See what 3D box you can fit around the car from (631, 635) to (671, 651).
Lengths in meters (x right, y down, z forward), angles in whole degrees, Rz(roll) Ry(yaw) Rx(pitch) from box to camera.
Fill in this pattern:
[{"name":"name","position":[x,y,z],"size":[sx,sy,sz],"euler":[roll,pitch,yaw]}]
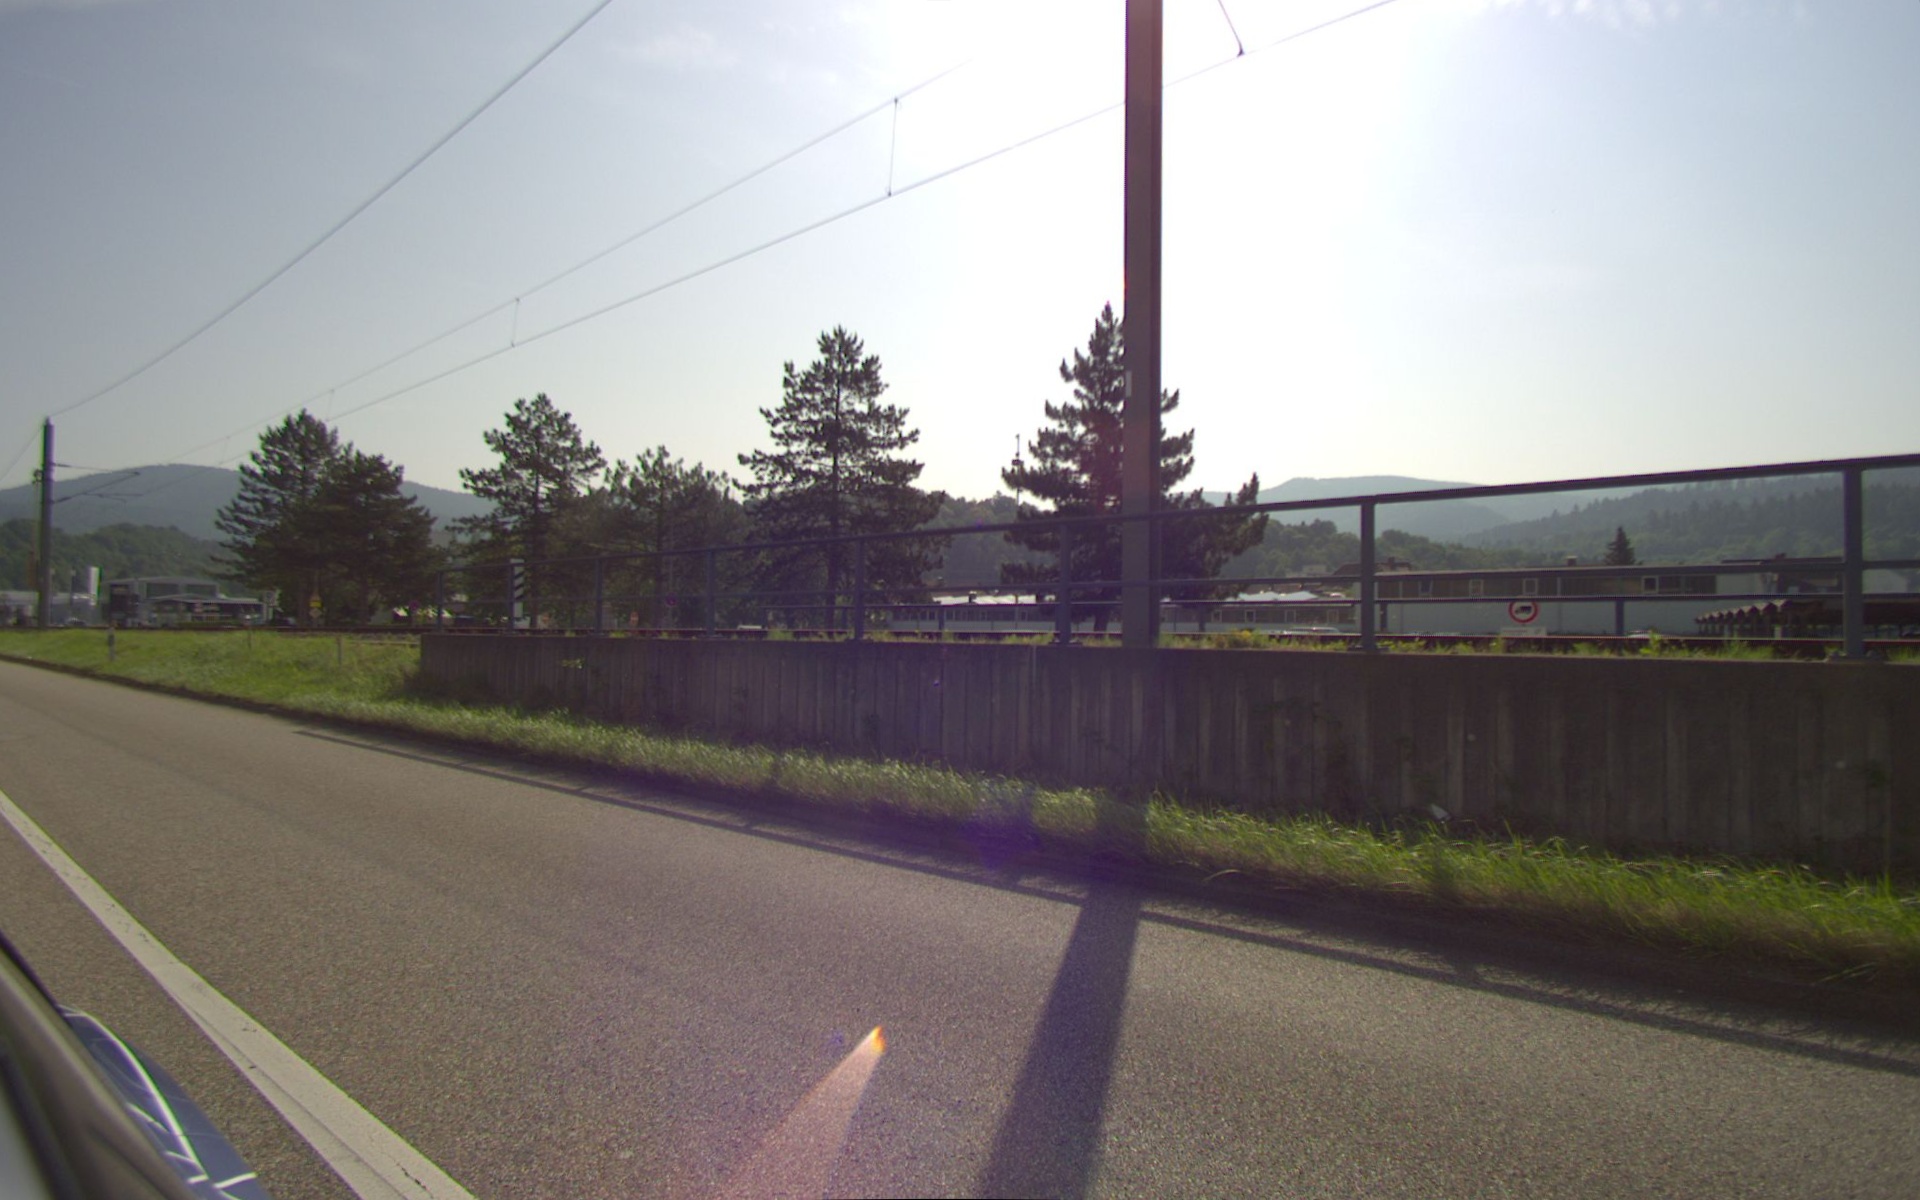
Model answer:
[{"name":"car","position":[-31.622,4.374,103.558],"size":[3.986,1.560,1.666],"euler":[-1,-3,31]}]

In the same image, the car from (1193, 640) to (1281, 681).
[{"name":"car","position":[9.624,2.083,35.406],"size":[1.433,1.335,3.545],"euler":[1,-2,-13]}]

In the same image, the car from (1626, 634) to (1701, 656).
[{"name":"car","position":[43.832,2.781,63.098],"size":[3.492,1.335,1.455],"euler":[0,-2,6]}]

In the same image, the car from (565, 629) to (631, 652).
[{"name":"car","position":[-23.913,2.659,66.885],"size":[3.795,1.454,1.689],"euler":[1,-2,-3]}]

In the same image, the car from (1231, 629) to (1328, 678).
[{"name":"car","position":[11.624,1.930,37.039],"size":[1.619,1.701,3.816],"euler":[1,-2,-14]}]

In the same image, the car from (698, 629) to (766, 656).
[{"name":"car","position":[-13.708,2.555,61.011],"size":[3.795,1.518,1.689],"euler":[1,-2,-3]}]

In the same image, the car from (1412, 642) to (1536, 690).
[{"name":"car","position":[15.667,1.989,31.051],"size":[1.433,1.335,3.545],"euler":[1,-2,-13]}]

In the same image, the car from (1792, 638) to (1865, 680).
[{"name":"car","position":[38.441,2.568,44.891],"size":[1.812,1.678,3.956],"euler":[-1,-2,32]}]

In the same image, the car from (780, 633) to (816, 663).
[{"name":"car","position":[-7.749,2.279,48.709],"size":[1.496,1.368,3.525],"euler":[1,-2,-6]}]

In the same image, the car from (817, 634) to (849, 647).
[{"name":"car","position":[-15.751,5.015,125.651],"size":[3.842,1.492,1.478],"euler":[-1,-3,34]}]

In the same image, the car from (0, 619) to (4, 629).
[{"name":"car","position":[-151.137,3.778,156.997],"size":[1.658,1.539,3.925],"euler":[-1,1,33]}]

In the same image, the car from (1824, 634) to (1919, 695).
[{"name":"car","position":[25.701,1.737,28.220],"size":[1.812,1.548,3.956],"euler":[-1,-2,32]}]

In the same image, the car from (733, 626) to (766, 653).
[{"name":"car","position":[-10.759,2.008,51.773],"size":[1.539,1.335,3.866],"euler":[1,-2,-11]}]

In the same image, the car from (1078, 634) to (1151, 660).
[{"name":"car","position":[8.069,2.454,52.836],"size":[3.476,1.335,1.461],"euler":[1,-2,-16]}]

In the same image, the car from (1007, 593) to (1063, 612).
[{"name":"car","position":[5.284,0.181,71.677],"size":[3.795,1.272,1.568],"euler":[1,-2,-3]}]

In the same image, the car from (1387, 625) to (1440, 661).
[{"name":"car","position":[23.144,2.166,51.563],"size":[1.993,1.734,3.957],"euler":[-1,-2,31]}]
